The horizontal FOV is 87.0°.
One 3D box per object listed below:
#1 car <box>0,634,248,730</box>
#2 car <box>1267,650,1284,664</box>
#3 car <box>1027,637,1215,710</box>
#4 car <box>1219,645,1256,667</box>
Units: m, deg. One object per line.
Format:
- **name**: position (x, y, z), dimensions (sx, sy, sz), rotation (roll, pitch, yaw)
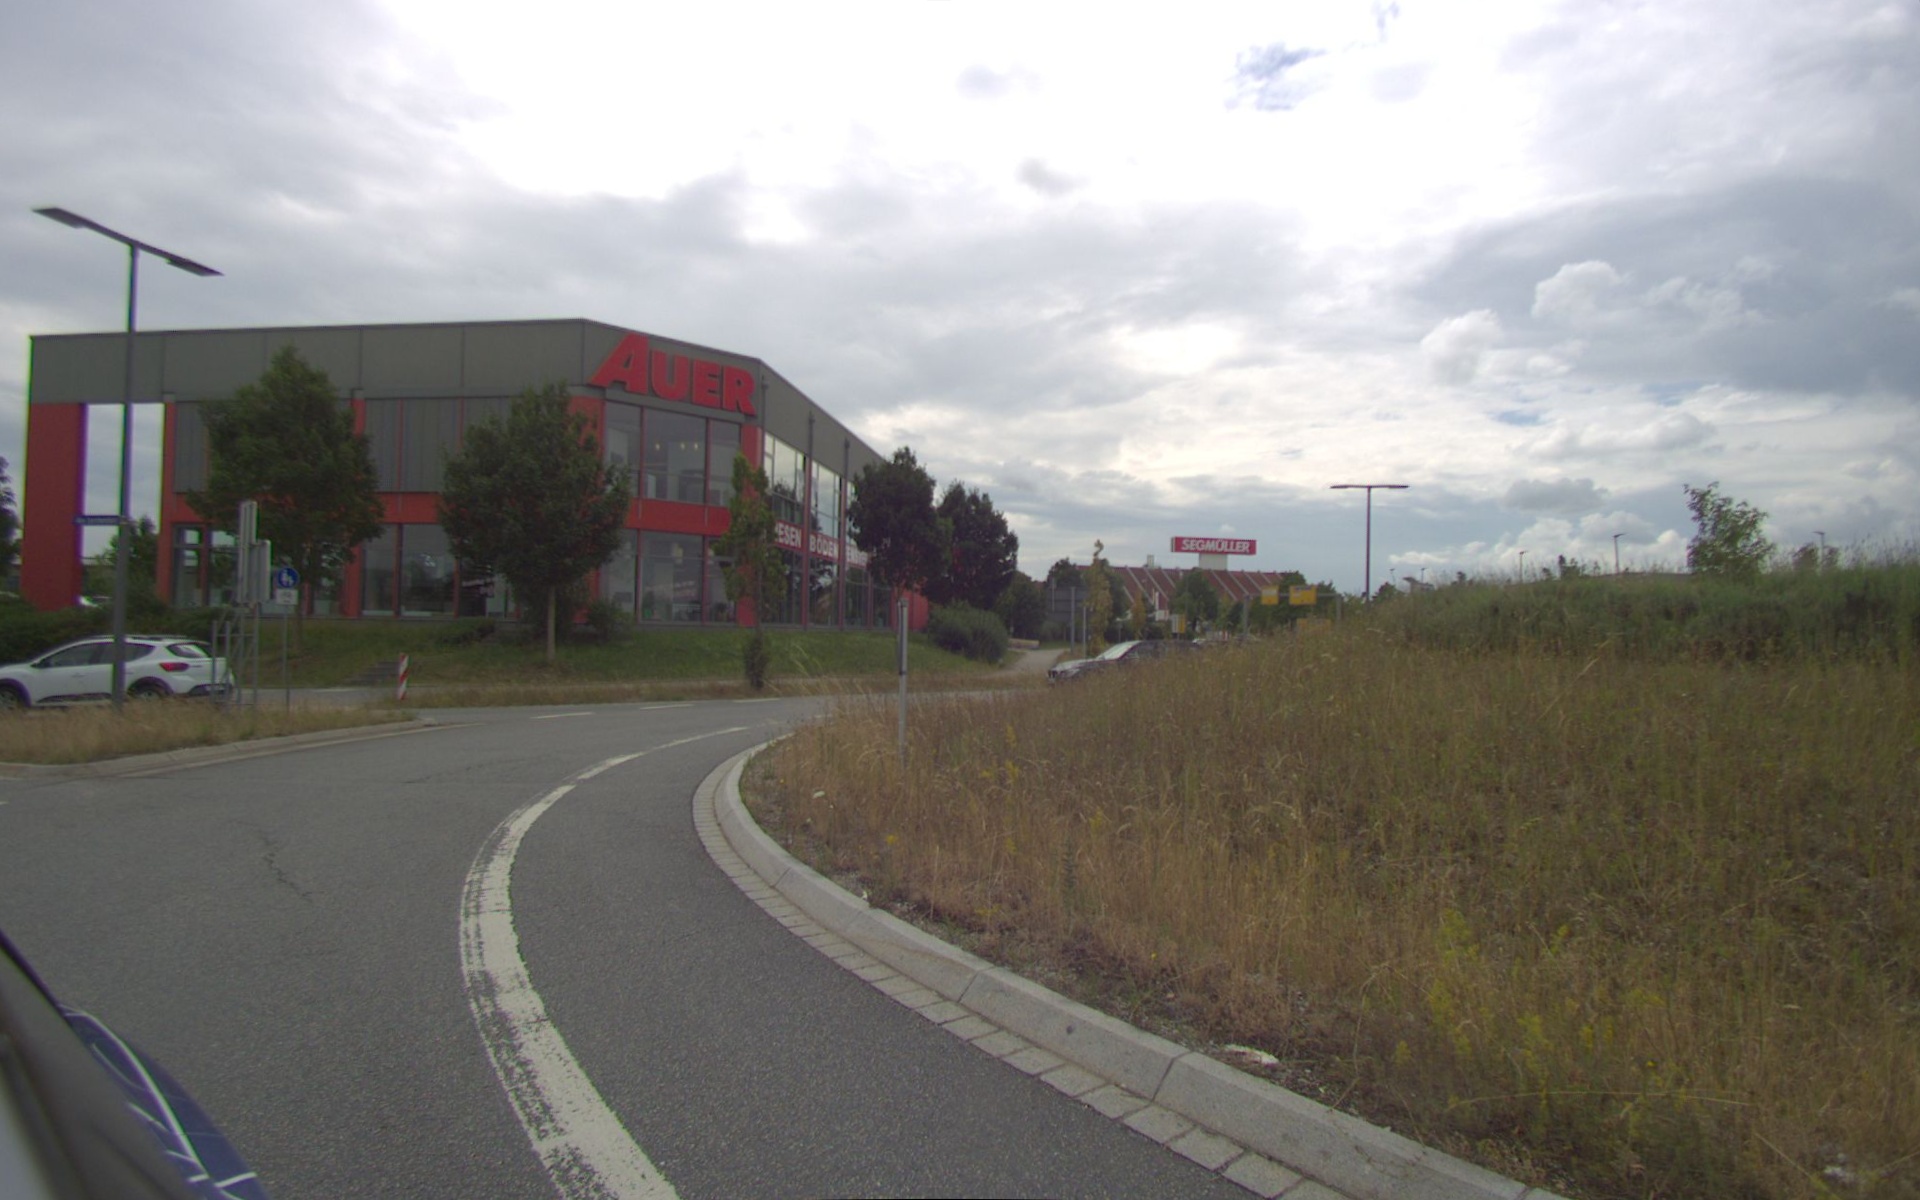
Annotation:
- **car**: position (-16.181, 1.529, 19.201), dimensions (4.023, 1.570, 1.736), rotation (2, 0, -5)
- **car**: position (32.084, 5.776, 102.973), dimensions (1.485, 1.311, 3.729), rotation (0, -3, 14)
- **car**: position (4.071, 1.846, 25.679), dimensions (4.222, 1.620, 2.007), rotation (2, 0, -22)
- **car**: position (22.270, 4.475, 81.389), dimensions (1.991, 1.564, 3.996), rotation (1, -2, 3)
